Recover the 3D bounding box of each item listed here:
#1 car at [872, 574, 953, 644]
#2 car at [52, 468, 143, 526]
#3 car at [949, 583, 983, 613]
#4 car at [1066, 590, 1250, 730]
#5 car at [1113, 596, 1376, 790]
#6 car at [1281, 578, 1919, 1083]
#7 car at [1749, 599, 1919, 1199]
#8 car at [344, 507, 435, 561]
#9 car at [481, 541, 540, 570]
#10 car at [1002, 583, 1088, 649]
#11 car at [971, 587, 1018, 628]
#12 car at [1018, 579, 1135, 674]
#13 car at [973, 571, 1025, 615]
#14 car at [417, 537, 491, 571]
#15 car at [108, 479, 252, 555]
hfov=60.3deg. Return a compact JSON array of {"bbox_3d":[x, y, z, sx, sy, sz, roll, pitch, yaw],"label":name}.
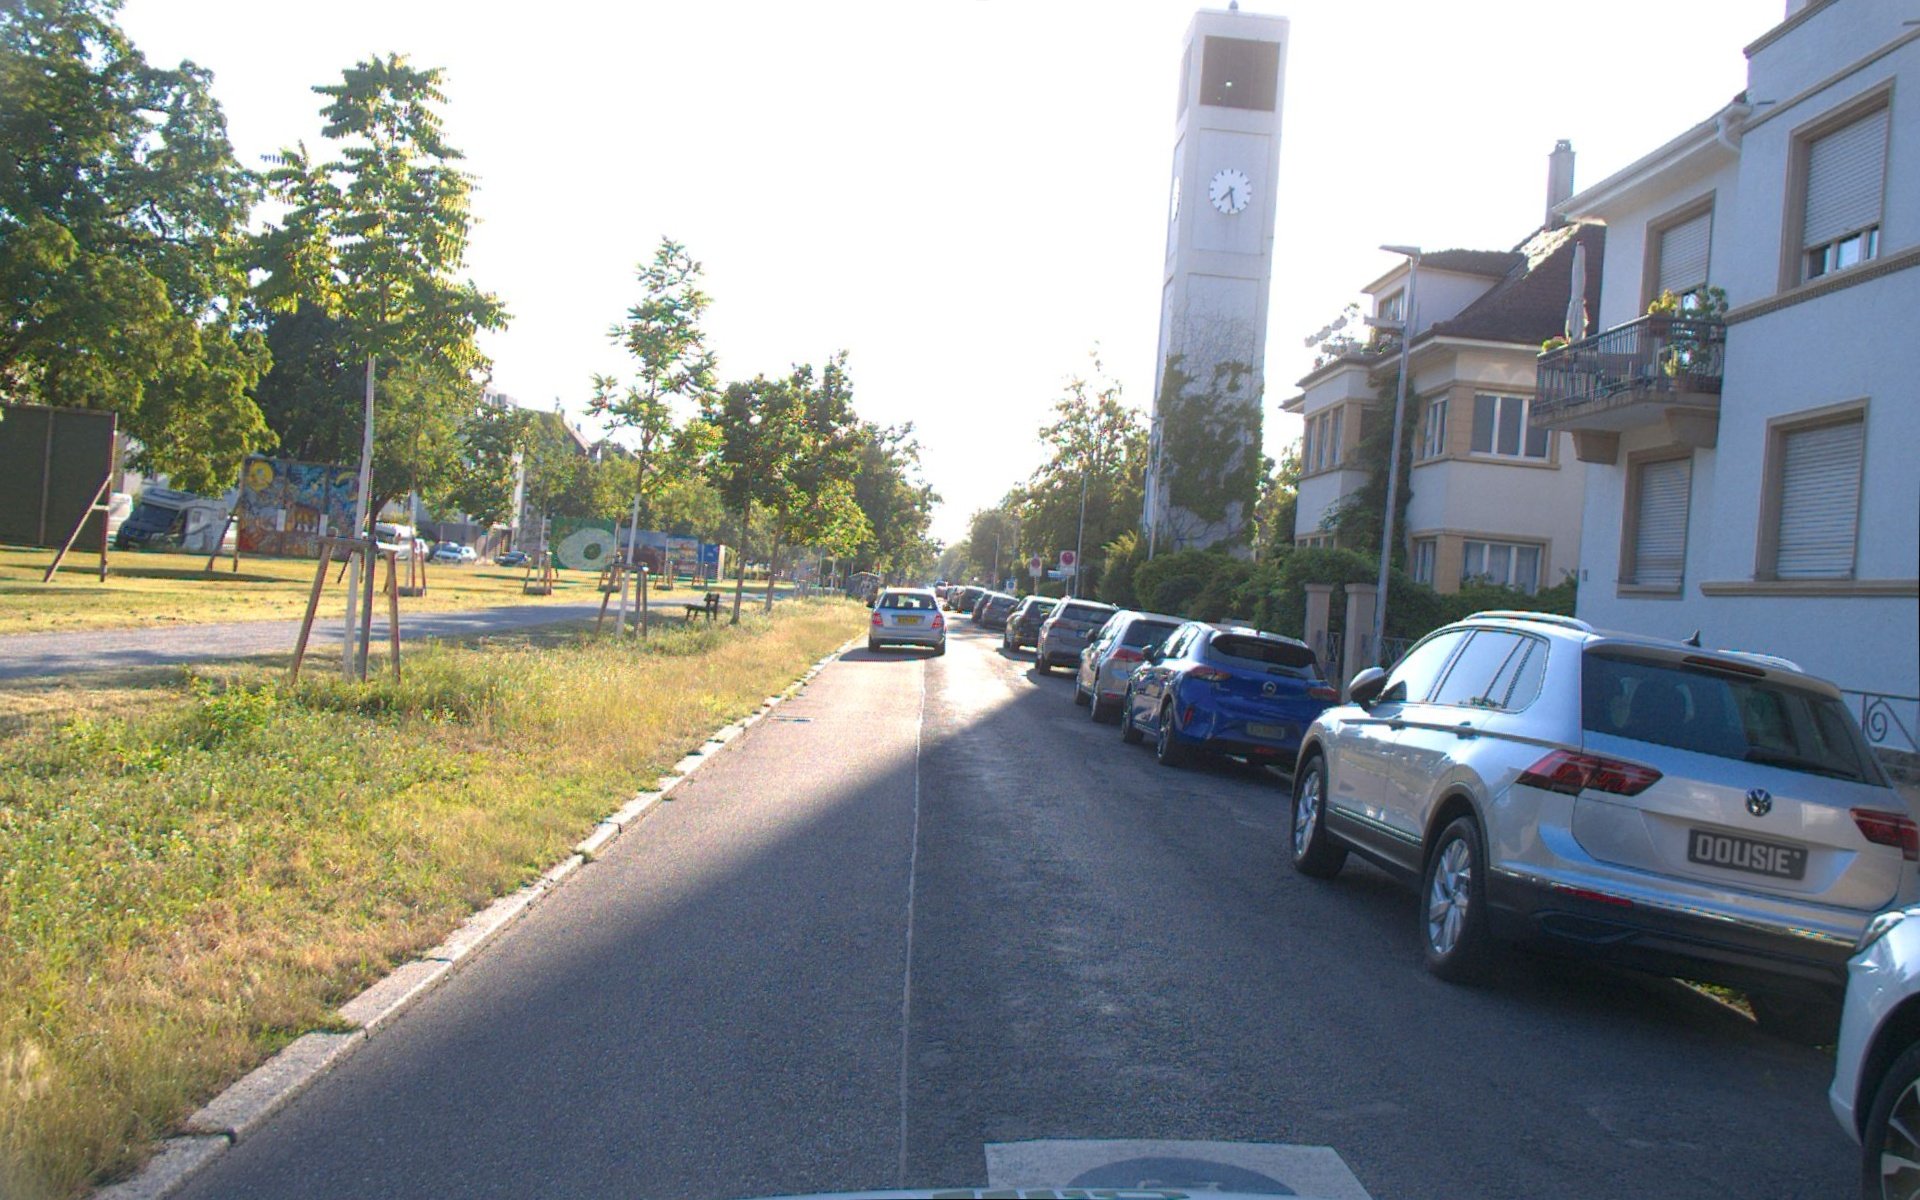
[{"bbox_3d":[-1.116,0.170,37.857,1.725,1.444,3.999,1,1,-2],"label":"car"},{"bbox_3d":[-40.430,-4.790,77.678,1.953,2.451,4.363,2,1,-1],"label":"car"},{"bbox_3d":[0.373,-0.141,104.095,1.940,1.711,4.000,4,1,0],"label":"car"},{"bbox_3d":[2.619,0.745,22.763,1.727,1.443,3.999,8,1,-3],"label":"car"},{"bbox_3d":[2.839,0.859,17.389,1.728,1.443,3.999,10,1,-3],"label":"car"},{"bbox_3d":[3.016,0.871,8.429,1.653,1.678,4.099,9,1,-2],"label":"car"},{"bbox_3d":[3.242,0.934,2.552,1.724,1.632,4.357,4,1,-2],"label":"car"},{"bbox_3d":[-35.208,-4.028,102.349,3.095,3.044,6.893,2,1,0],"label":"car"},{"bbox_3d":[-36.927,-3.660,135.964,3.095,2.185,6.110,2,1,0],"label":"car"},{"bbox_3d":[2.192,0.384,43.635,1.953,1.489,4.000,4,1,0],"label":"car"},{"bbox_3d":[1.565,0.325,75.811,1.953,1.657,4.000,4,1,0],"label":"car"},{"bbox_3d":[2.242,0.477,32.808,1.726,1.547,3.999,6,1,-2],"label":"car"},{"bbox_3d":[1.605,-0.324,69.301,1.953,1.657,4.000,4,1,0],"label":"car"},{"bbox_3d":[-36.085,-3.247,118.214,3.095,2.185,6.893,2,1,0],"label":"car"},{"bbox_3d":[-34.678,-3.629,73.875,3.095,3.044,6.893,2,1,0],"label":"car"}]
